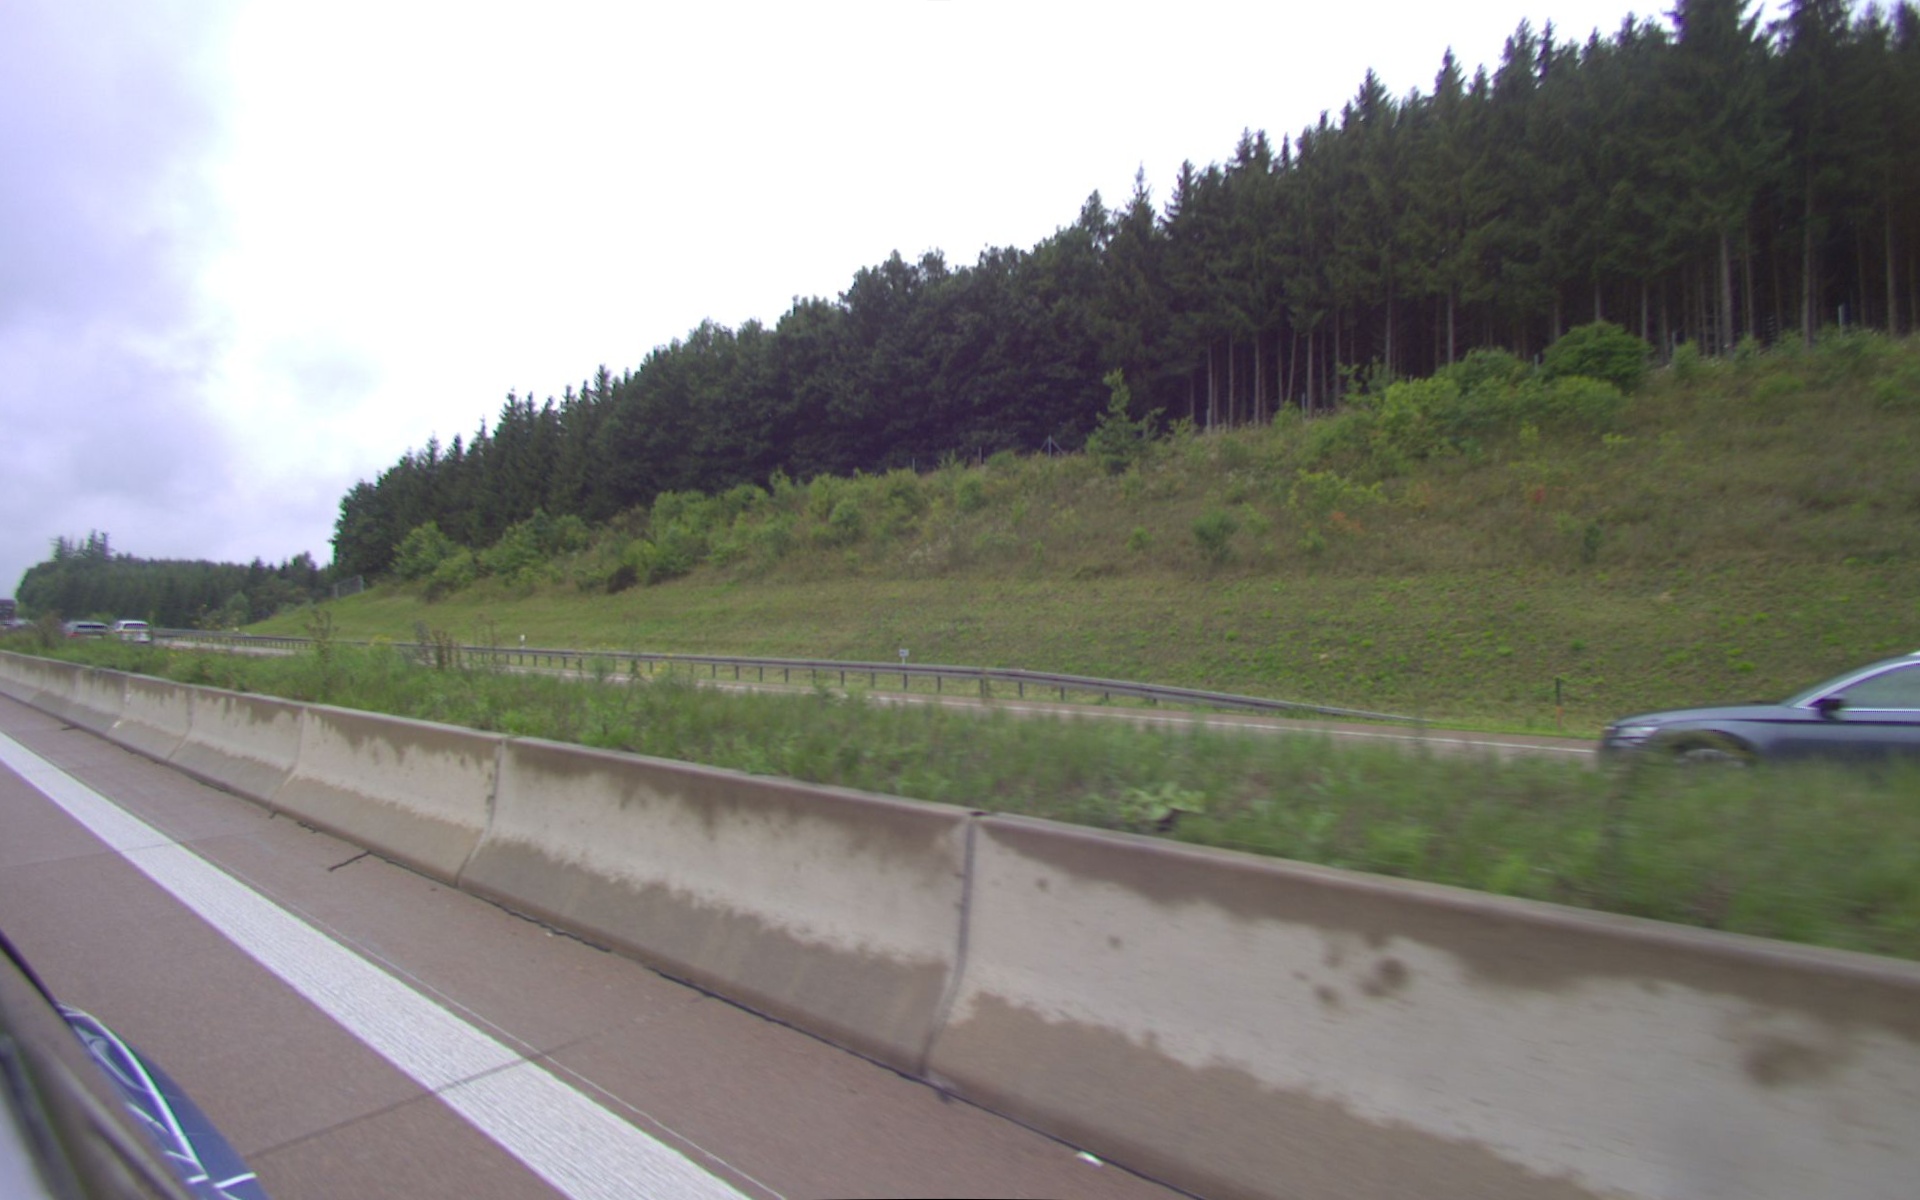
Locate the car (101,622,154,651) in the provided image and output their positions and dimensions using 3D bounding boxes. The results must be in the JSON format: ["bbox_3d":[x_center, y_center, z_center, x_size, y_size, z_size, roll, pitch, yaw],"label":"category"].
[{"bbox_3d":[-51.810,2.263,62.953,4.950,1.736,1.794,-1,-3,42],"label":"car"}]

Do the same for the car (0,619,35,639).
[{"bbox_3d":[-84.836,2.593,91.020,4.258,1.733,1.972,-1,0,42],"label":"car"}]

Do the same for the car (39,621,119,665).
[{"bbox_3d":[-39.809,1.893,45.688,5.322,1.789,2.027,-1,0,41],"label":"car"}]

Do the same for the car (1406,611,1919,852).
[{"bbox_3d":[7.325,0.963,8.335,6.381,1.705,2.027,-1,0,41],"label":"car"}]
